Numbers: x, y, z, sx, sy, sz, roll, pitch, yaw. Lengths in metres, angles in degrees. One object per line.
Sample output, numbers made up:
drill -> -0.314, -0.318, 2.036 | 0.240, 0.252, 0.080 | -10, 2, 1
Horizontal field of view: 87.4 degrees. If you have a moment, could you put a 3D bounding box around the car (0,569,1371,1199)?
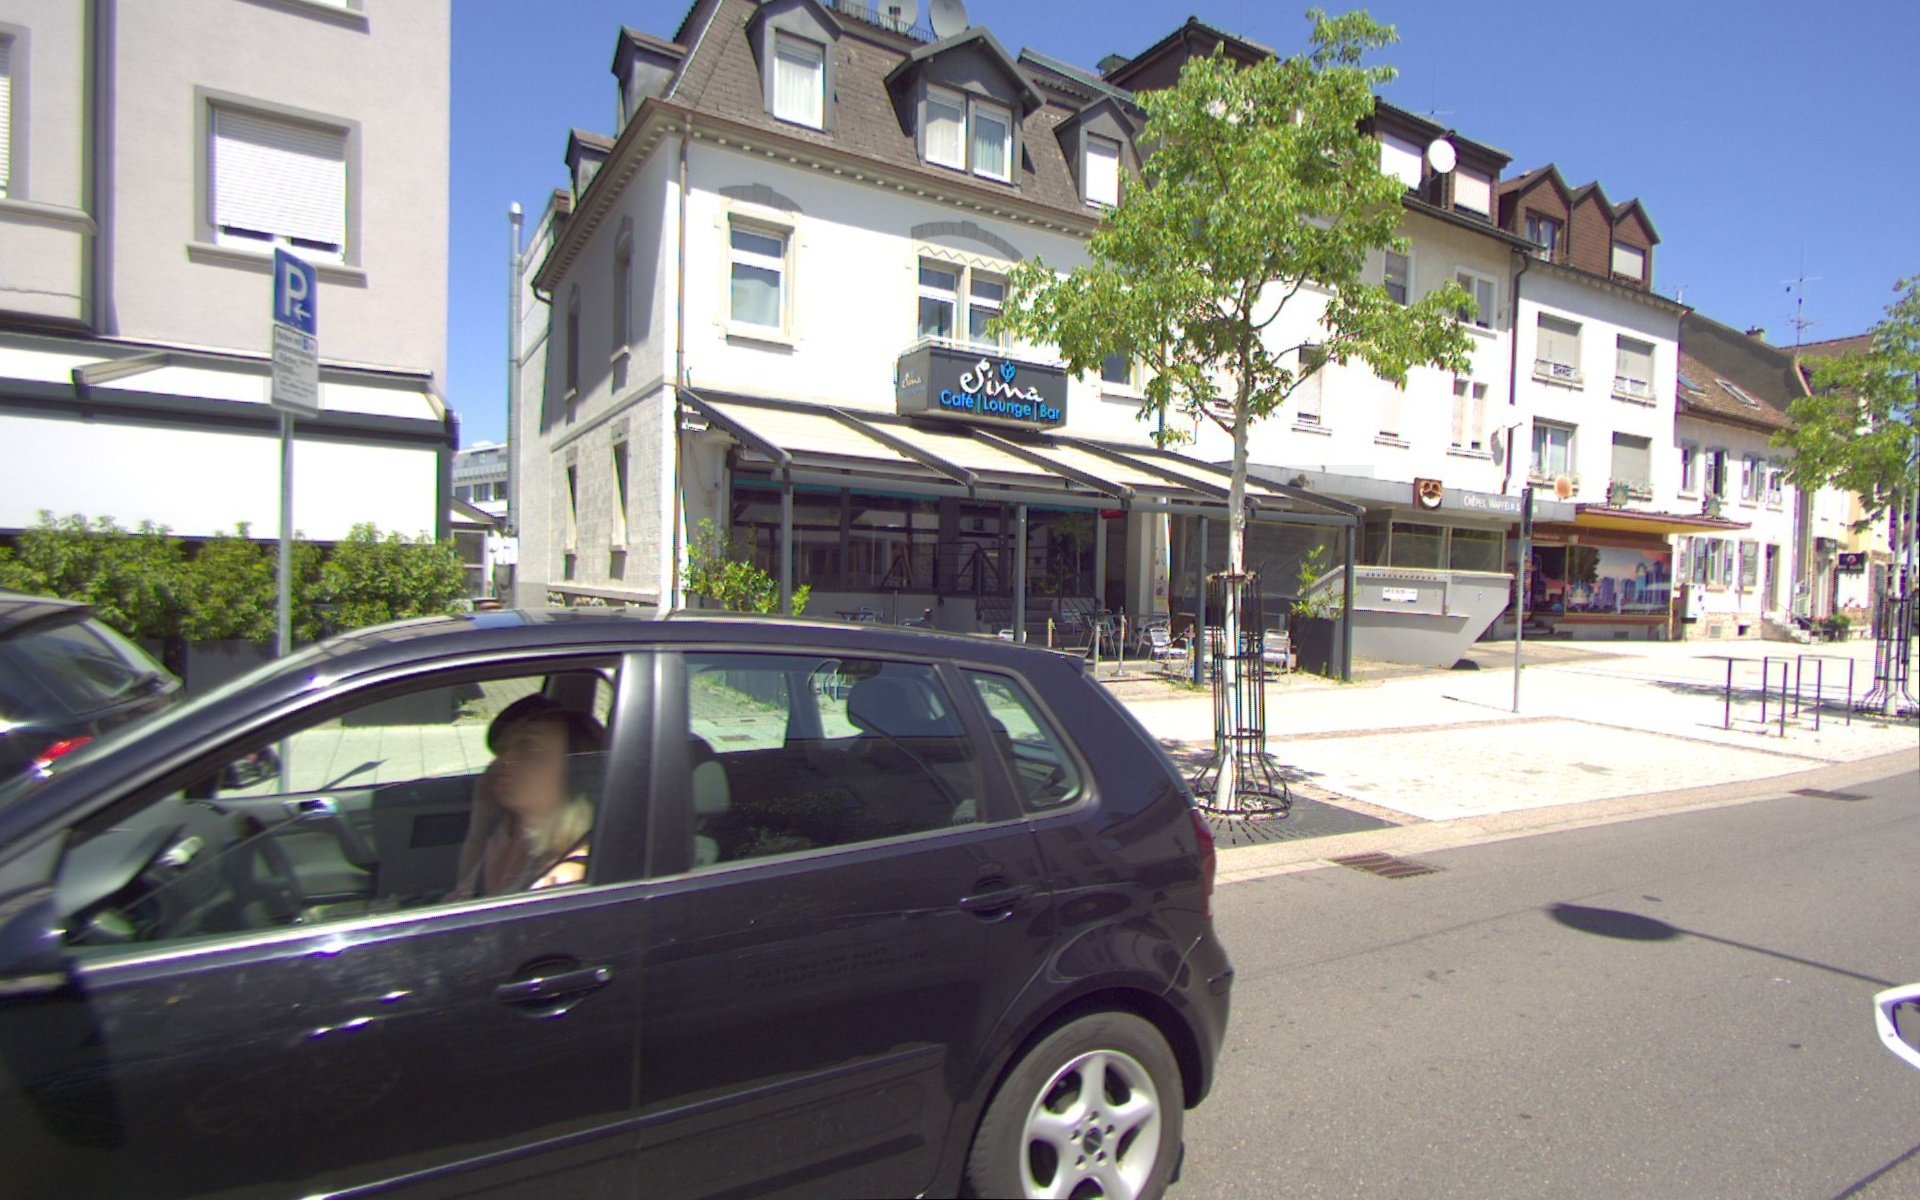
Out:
car -> -0.985, 0.721, 2.372 | 3.817, 1.473, 1.609 | 1, -1, -29

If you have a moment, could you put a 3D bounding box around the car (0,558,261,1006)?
car -> -5.165, 0.559, 3.360 | 4.391, 1.465, 1.748 | 1, 3, -27
